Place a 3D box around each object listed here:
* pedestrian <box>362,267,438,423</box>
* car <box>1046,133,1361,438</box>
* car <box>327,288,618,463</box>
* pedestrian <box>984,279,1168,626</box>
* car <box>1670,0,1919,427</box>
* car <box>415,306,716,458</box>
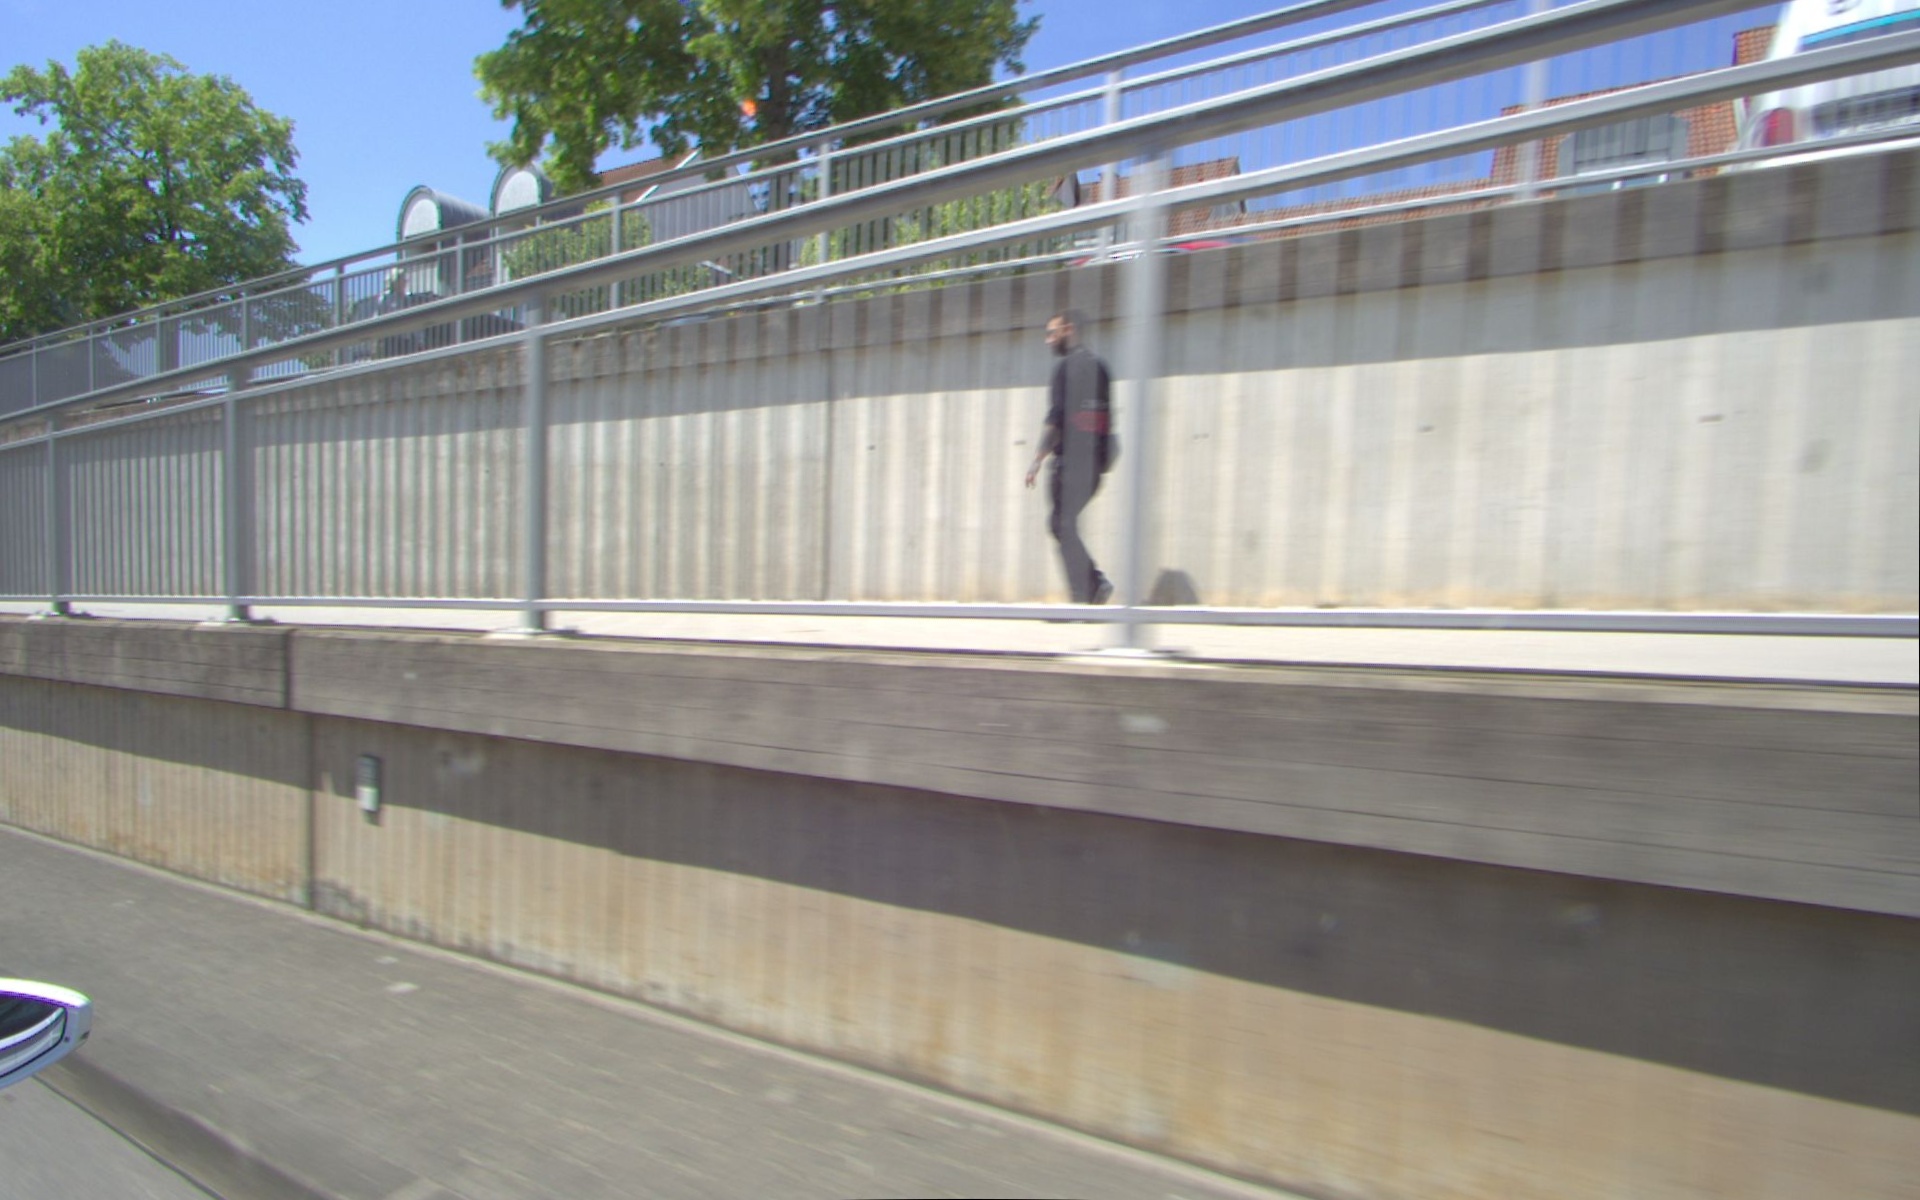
[{"bbox_3d":[-7.262,-3.273,12.987,0.585,1.804,0.671,3,3,33],"label":"pedestrian"},{"bbox_3d":[2.568,-2.711,9.727,1.661,1.618,4.195,3,2,32],"label":"car"},{"bbox_3d":[-7.633,-3.402,16.017,1.661,1.911,3.897,3,2,32],"label":"car"},{"bbox_3d":[0.682,-0.766,5.790,0.777,1.806,0.834,1,1,32],"label":"pedestrian"},{"bbox_3d":[6.729,-2.768,7.487,1.960,2.092,5.101,3,2,32],"label":"car"},{"bbox_3d":[-5.621,-3.041,14.713,1.661,1.386,3.897,3,2,32],"label":"car"}]
